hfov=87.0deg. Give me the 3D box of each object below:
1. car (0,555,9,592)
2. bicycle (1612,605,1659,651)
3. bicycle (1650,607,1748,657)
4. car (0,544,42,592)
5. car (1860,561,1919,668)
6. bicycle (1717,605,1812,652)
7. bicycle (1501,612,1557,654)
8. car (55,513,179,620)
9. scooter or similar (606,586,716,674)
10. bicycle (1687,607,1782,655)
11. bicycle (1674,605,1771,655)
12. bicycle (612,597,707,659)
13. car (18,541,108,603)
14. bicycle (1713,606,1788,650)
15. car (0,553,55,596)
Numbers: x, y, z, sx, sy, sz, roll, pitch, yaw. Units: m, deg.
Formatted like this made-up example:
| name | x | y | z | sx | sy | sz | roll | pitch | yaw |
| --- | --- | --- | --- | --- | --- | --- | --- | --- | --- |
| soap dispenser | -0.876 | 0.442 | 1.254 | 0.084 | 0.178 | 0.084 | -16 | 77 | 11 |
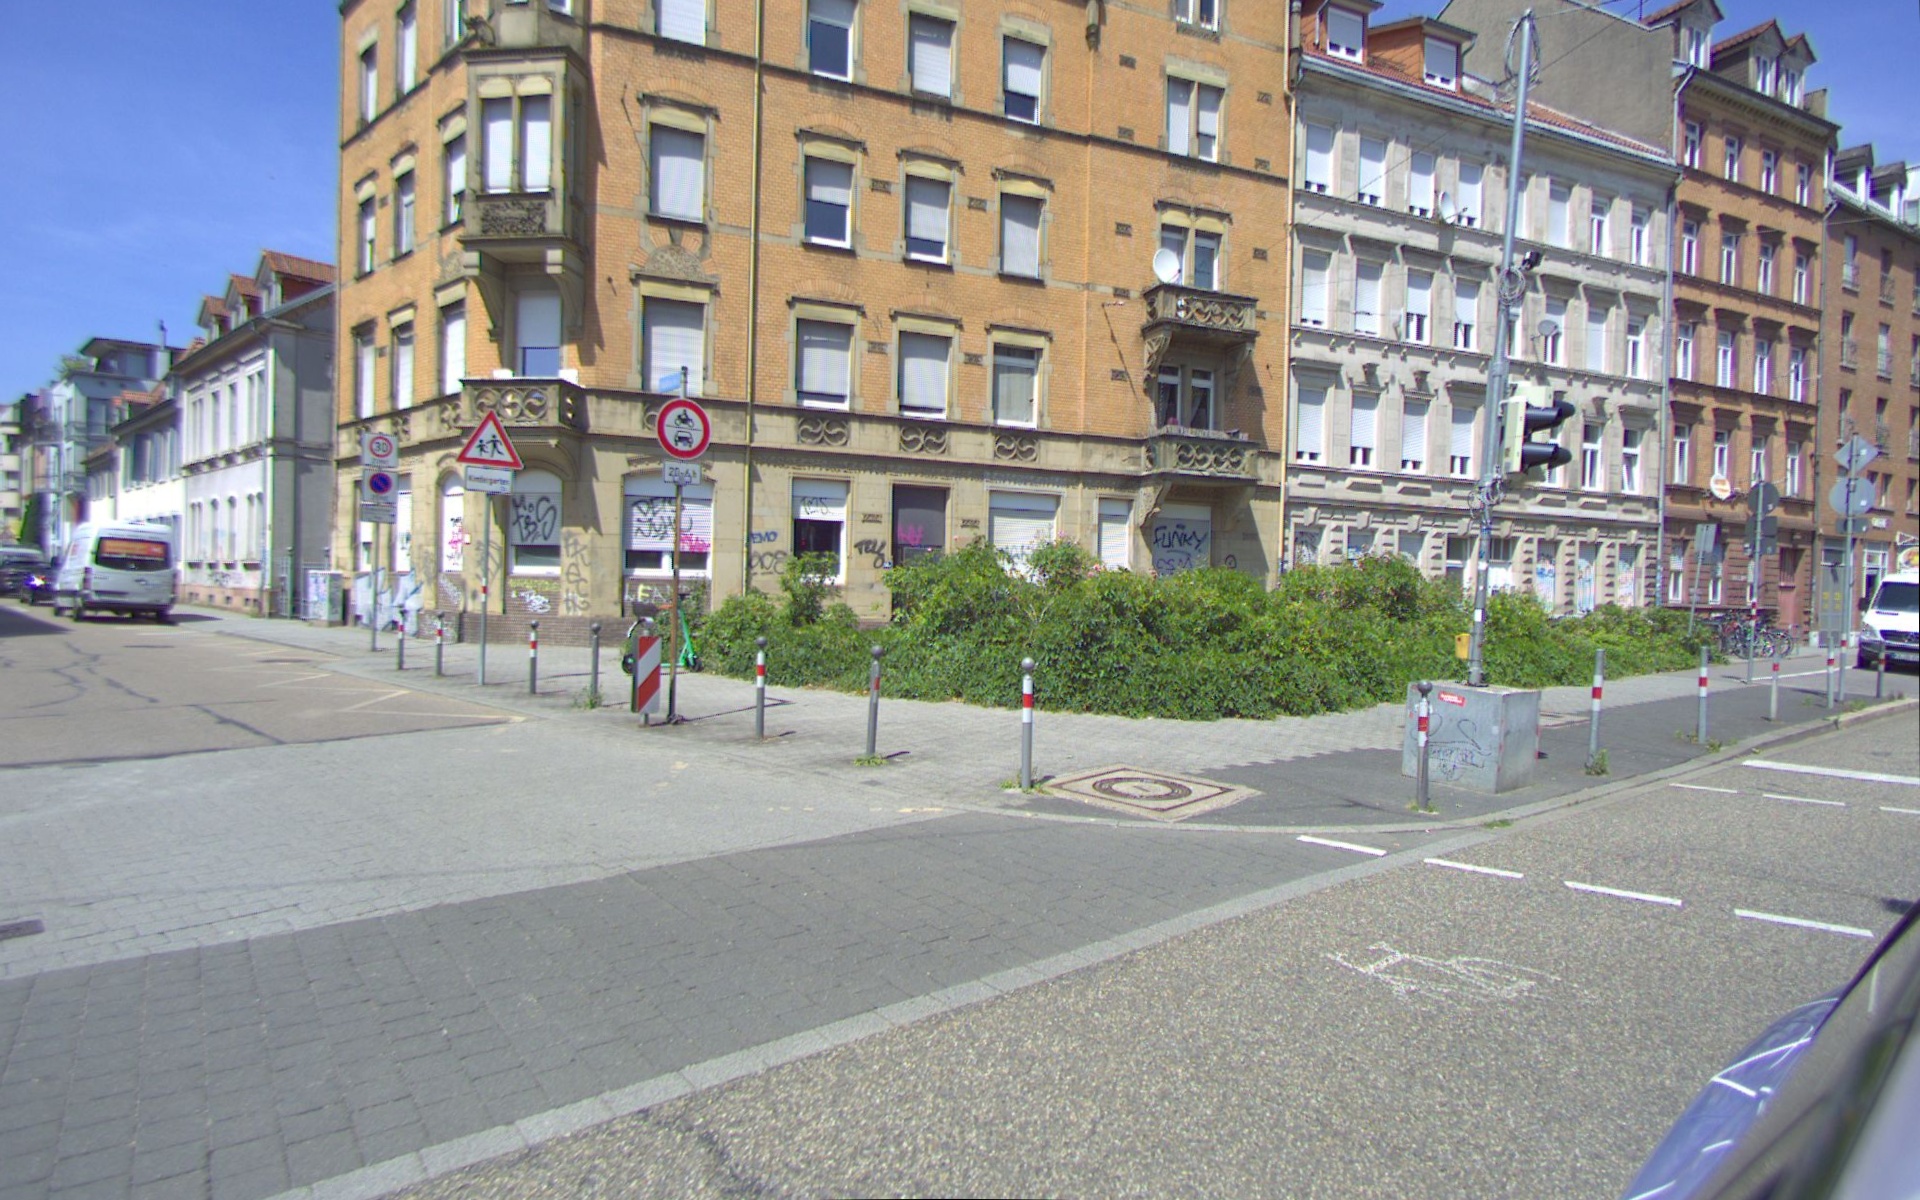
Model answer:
| name | x | y | z | sx | sy | sz | roll | pitch | yaw |
| --- | --- | --- | --- | --- | --- | --- | --- | --- | --- |
| car | -55.981 | -1.475 | 57.931 | 4.811 | 2.061 | 1.969 | 0 | 0 | 43 |
| bicycle | 18.065 | 0.732 | 27.048 | 1.886 | 1.195 | 0.492 | 0 | 0 | -38 |
| bicycle | 18.382 | 0.777 | 25.208 | 0.484 | 1.195 | 1.919 | 1 | 0 | -37 |
| car | -43.227 | -1.412 | 45.887 | 4.811 | 2.061 | 1.969 | 0 | 0 | 43 |
| car | 23.532 | 0.350 | 24.168 | 5.308 | 2.358 | 2.000 | 0 | 3 | -38 |
| bicycle | 21.400 | 0.730 | 26.956 | 0.484 | 1.195 | 1.919 | 1 | 0 | -37 |
| bicycle | 14.384 | 0.818 | 25.577 | 1.734 | 1.035 | 0.457 | 0 | 0 | -32 |
| car | -23.035 | -0.845 | 27.576 | 5.200 | 2.655 | 1.969 | 0 | 0 | 43 |
| scooter or similar | -4.330 | 0.414 | 14.700 | 1.459 | 1.220 | 0.491 | 0 | 0 | -34 |
| bicycle | 20.271 | 0.783 | 26.530 | 0.484 | 1.195 | 1.919 | 1 | 0 | -37 |
| bicycle | 19.303 | 0.739 | 25.656 | 0.484 | 1.195 | 1.919 | 1 | 0 | -37 |
| bicycle | -5.078 | 0.457 | 17.135 | 1.459 | 1.005 | 0.491 | 0 | 0 | -34 |
| car | -32.005 | -0.948 | 36.074 | 4.811 | 2.061 | 1.969 | 0 | 0 | 43 |
| bicycle | 22.143 | 0.782 | 28.354 | 1.881 | 1.195 | 0.493 | 0 | 0 | -8 |
| car | -38.996 | -1.025 | 42.054 | 3.987 | 1.705 | 1.807 | 0 | 0 | 44 |
